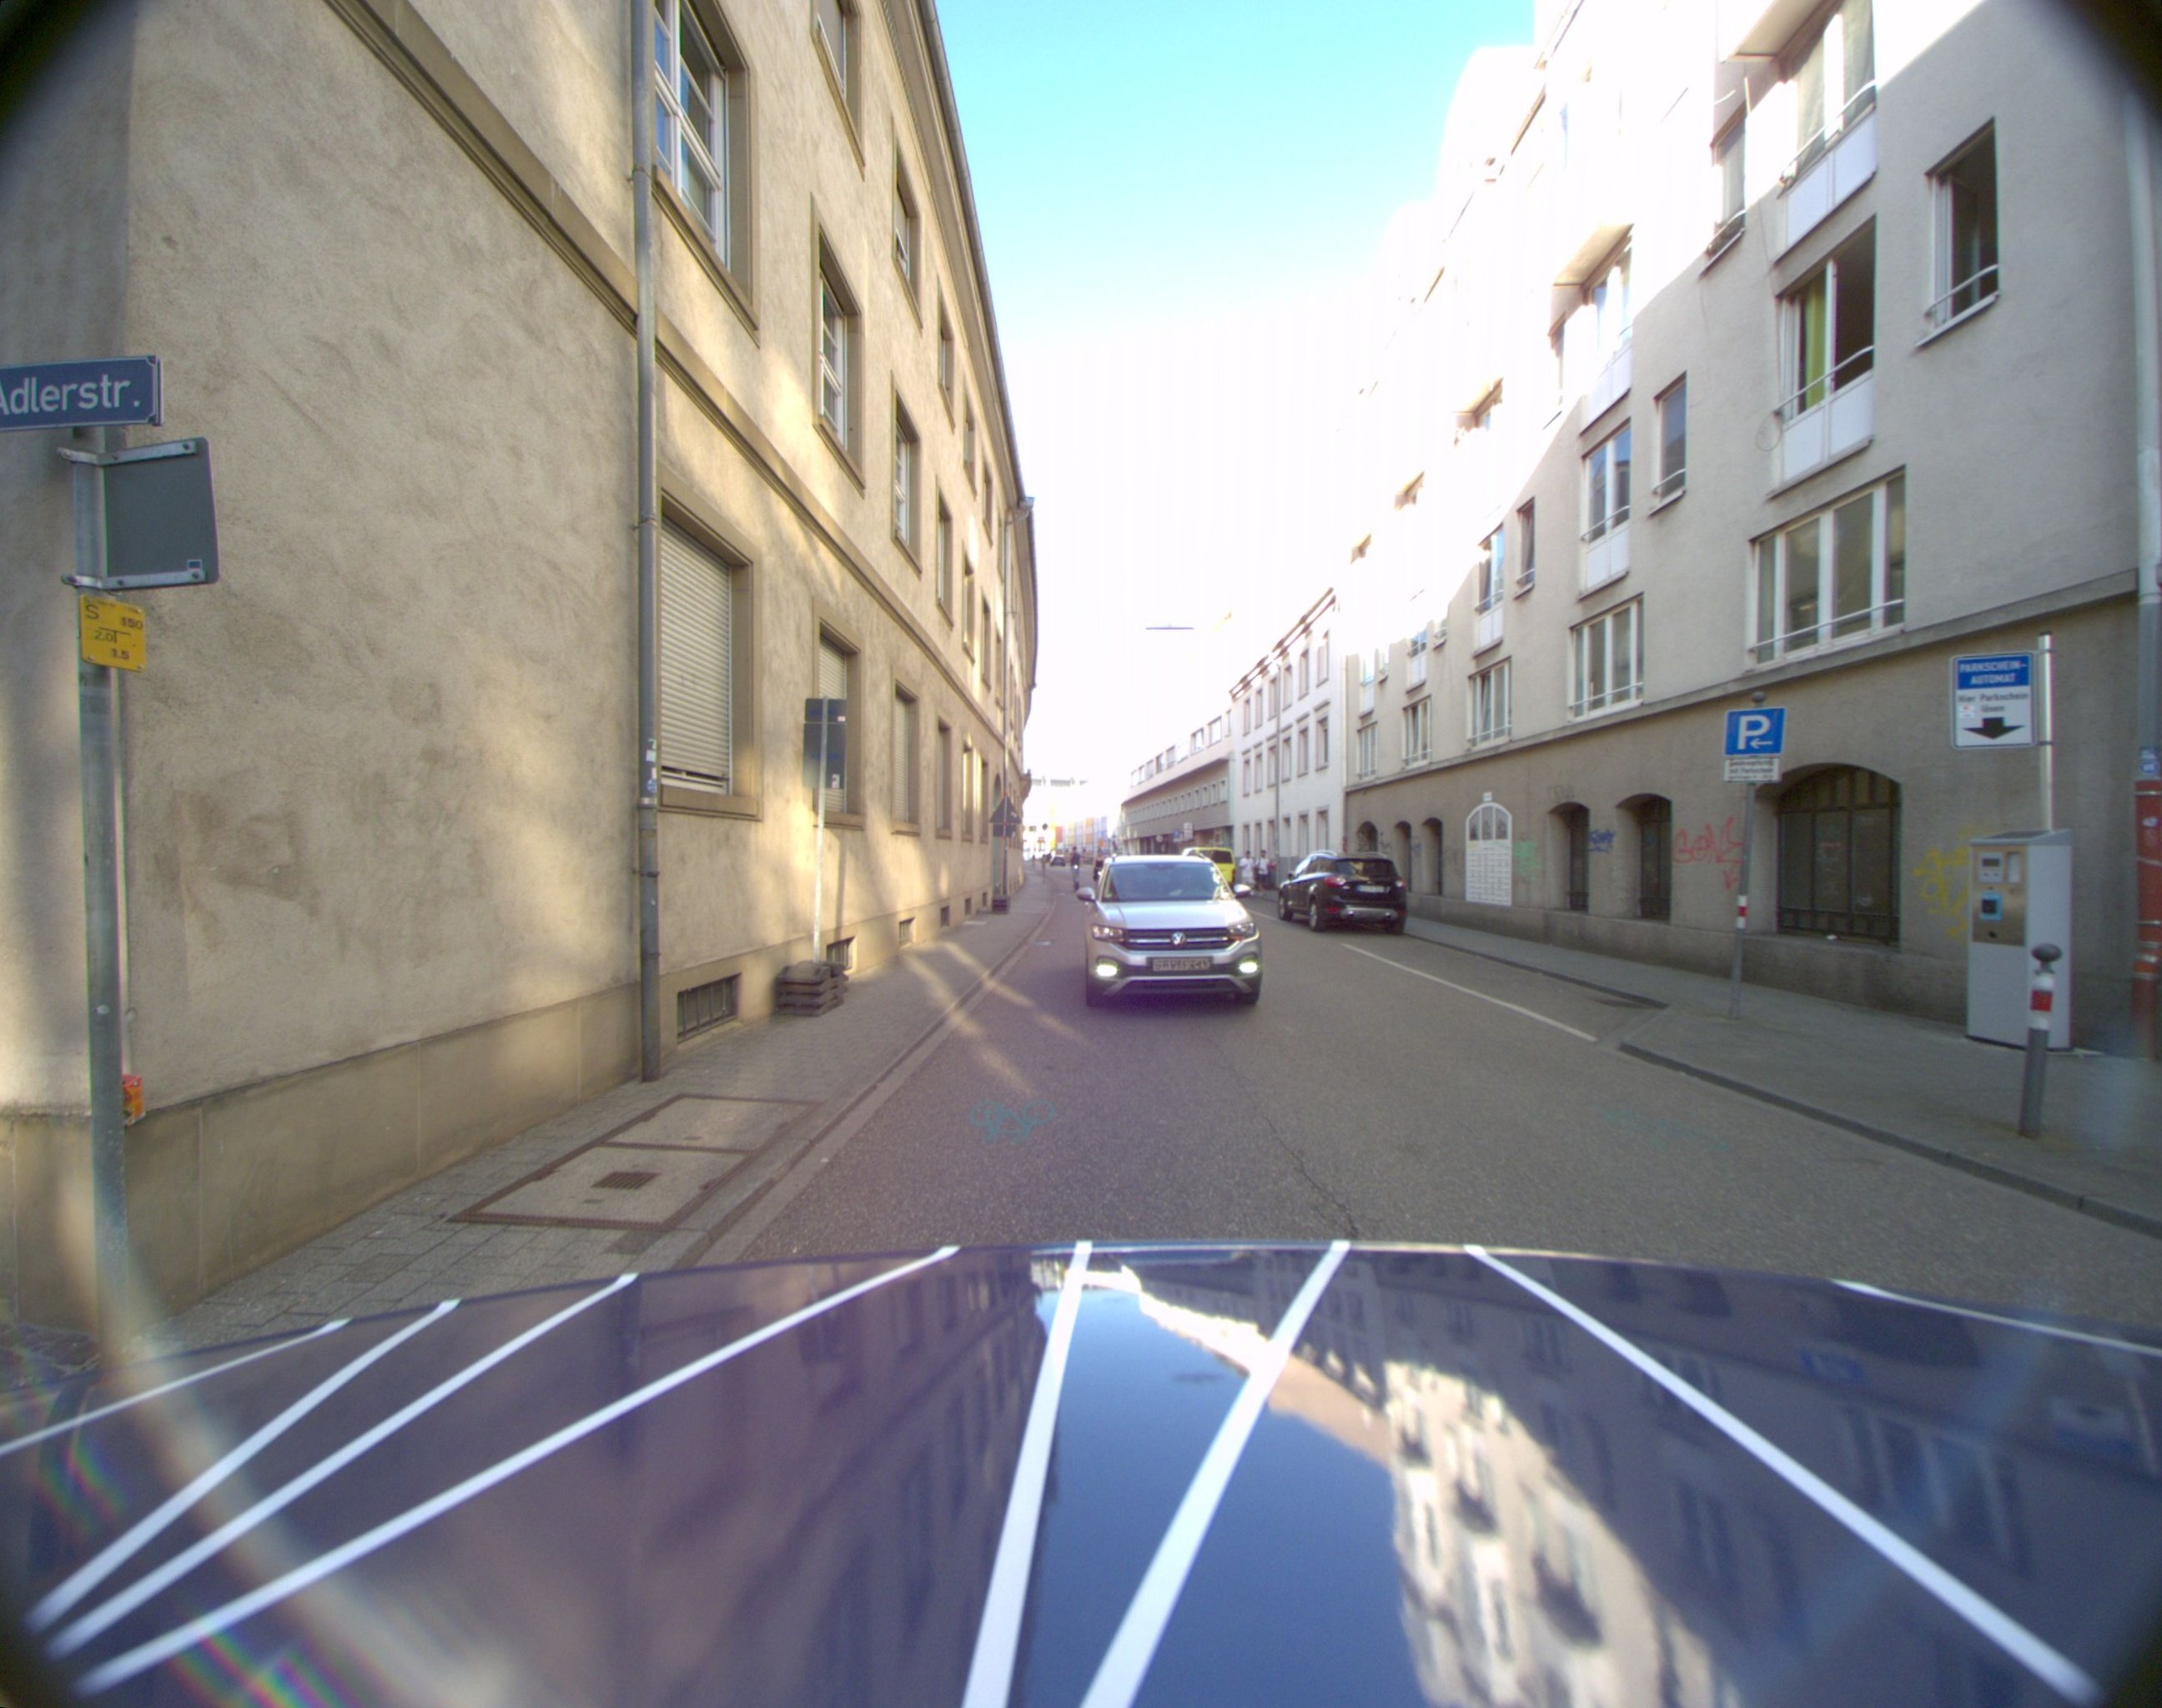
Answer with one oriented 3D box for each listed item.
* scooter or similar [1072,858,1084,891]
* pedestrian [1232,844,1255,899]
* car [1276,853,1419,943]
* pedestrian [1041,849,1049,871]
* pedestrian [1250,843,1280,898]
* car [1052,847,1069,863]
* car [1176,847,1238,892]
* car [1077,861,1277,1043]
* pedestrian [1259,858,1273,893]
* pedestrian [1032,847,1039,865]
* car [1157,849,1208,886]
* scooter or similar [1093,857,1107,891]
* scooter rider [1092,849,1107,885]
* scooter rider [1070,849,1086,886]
[{"bbox_3d":[-0.119,0.878,32.893,0.523,1.388,1.555,0,0,1],"label":"scooter or similar"},{"bbox_3d":[5.973,0.621,27.964,0.715,2.002,0.699,0,1,0],"label":"pedestrian"},{"bbox_3d":[5.704,0.853,16.810,1.888,1.694,4.000,1,0,2],"label":"car"},{"bbox_3d":[-3.304,0.547,69.105,0.715,2.002,0.699,0,1,0],"label":"pedestrian"},{"bbox_3d":[6.825,0.596,28.180,0.937,2.002,0.699,0,1,0],"label":"pedestrian"},{"bbox_3d":[-2.673,0.112,97.173,1.889,1.863,3.998,2,0,-4],"label":"car"},{"bbox_3d":[5.435,0.624,33.278,1.888,1.863,3.999,1,0,-3],"label":"car"},{"bbox_3d":[0.870,0.900,8.795,1.762,1.537,4.000,-1,0,0],"label":"car"},{"bbox_3d":[7.640,0.886,31.409,0.556,1.439,0.583,0,1,11],"label":"pedestrian"},{"bbox_3d":[-4.901,0.220,82.396,0.715,2.002,0.699,0,1,0],"label":"pedestrian"},{"bbox_3d":[5.172,0.666,39.295,1.888,1.758,3.999,2,0,-3],"label":"car"},{"bbox_3d":[0.813,0.851,32.471,0.550,1.388,1.555,0,0,1],"label":"scooter or similar"},{"bbox_3d":[0.793,0.536,32.500,0.591,1.499,0.600,-2,1,1],"label":"scooter rider"},{"bbox_3d":[-0.135,0.586,33.003,0.647,1.584,0.600,-2,1,1],"label":"scooter rider"}]
